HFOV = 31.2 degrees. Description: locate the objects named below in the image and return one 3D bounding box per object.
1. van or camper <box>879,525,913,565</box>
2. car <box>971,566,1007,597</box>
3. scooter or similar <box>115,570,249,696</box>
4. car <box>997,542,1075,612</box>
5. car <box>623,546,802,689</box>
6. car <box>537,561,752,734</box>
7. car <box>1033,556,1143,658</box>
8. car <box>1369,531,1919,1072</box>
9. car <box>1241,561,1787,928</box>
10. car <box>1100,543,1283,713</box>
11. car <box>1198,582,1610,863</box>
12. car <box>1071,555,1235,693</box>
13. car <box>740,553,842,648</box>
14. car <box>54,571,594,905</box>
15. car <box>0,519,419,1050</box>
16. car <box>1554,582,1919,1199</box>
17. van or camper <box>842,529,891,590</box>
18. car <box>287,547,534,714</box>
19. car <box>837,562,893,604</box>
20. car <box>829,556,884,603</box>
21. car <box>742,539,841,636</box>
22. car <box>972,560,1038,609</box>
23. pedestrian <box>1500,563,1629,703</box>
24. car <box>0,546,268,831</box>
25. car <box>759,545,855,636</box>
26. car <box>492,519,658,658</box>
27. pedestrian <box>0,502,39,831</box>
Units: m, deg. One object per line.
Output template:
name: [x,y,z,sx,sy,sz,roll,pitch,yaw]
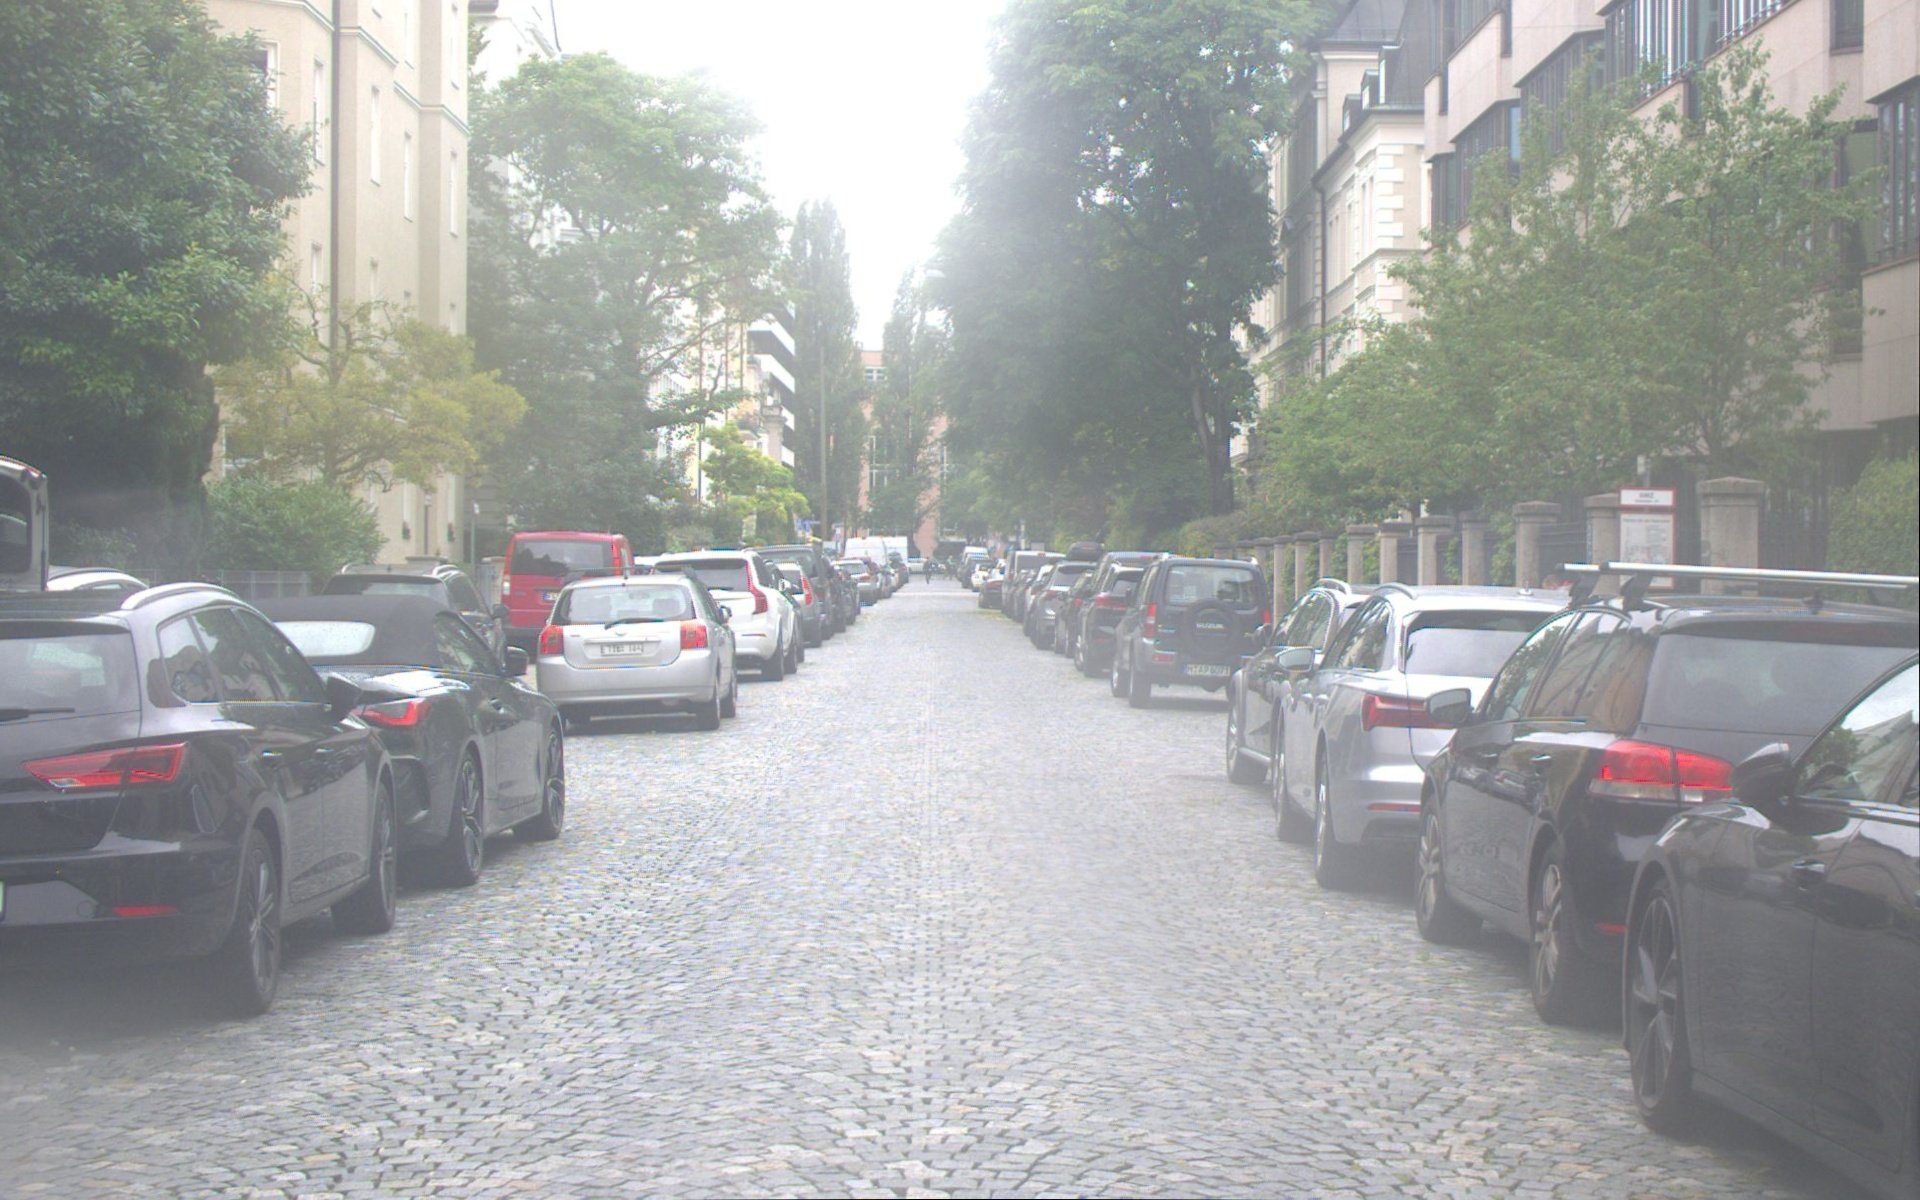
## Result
van or camper: [-4.469,-3.822,240.117,2.256,2.733,5.098,2,1,0]
car: [1.477,-0.953,176.416,1.790,1.515,4.000,1,1,0]
scooter or similar: [-7.867,0.318,34.820,0.956,1.196,1.522,3,1,0]
car: [2.244,-0.689,102.726,1.873,1.922,5.165,4,0,-2]
car: [-3.312,0.203,46.898,2.006,1.803,5.174,-1,0,1]
car: [-3.009,0.410,33.529,1.713,1.557,4.390,-1,1,-1]
car: [2.361,0.111,64.276,1.873,1.729,4.891,3,0,1]
car: [2.800,0.628,12.912,1.893,1.648,4.294,2,0,-1]
car: [2.676,0.620,17.844,1.993,1.546,4.986,3,1,0]
car: [2.594,0.281,39.249,1.618,1.745,3.887,4,1,-2]
car: [2.827,0.723,23.074,1.993,1.546,5.015,3,1,0]
car: [2.618,0.292,47.728,1.860,1.696,4.813,4,1,0]
car: [-3.270,-0.014,66.376,1.865,1.729,4.404,-2,1,-3]
car: [-3.100,0.598,17.802,1.814,1.450,4.913,-1,0,1]
car: [-3.180,0.545,12.635,1.739,1.598,4.537,0,0,-1]
car: [2.722,0.765,7.709,1.819,1.483,5.050,4,0,0]
van or camper: [-4.205,-1.836,155.508,1.993,2.643,4.000,-2,0,0]
car: [-5.510,0.270,34.997,1.715,1.492,4.722,3,1,0]
car: [-3.876,-0.695,140.558,1.873,1.574,4.207,3,0,3]
car: [-3.715,-0.751,122.635,1.873,1.574,4.256,-2,1,-2]
car: [-3.467,-0.268,71.515,1.873,1.910,4.828,-1,1,-1]
car: [1.483,-0.544,114.719,1.873,1.498,4.512,4,0,-2]
pedestrian: [6.634,0.353,37.785,1.217,1.488,1.129,-1,0,2]
car: [-5.386,0.415,19.849,1.776,1.412,4.561,2,1,0]
car: [-3.432,-0.233,77.919,1.993,1.910,5.178,-2,1,-1]
car: [-5.811,-0.194,52.482,1.994,1.924,5.331,2,1,-1]
pedestrian: [-5.168,0.321,17.476,0.766,1.644,0.582,2,0,1]
